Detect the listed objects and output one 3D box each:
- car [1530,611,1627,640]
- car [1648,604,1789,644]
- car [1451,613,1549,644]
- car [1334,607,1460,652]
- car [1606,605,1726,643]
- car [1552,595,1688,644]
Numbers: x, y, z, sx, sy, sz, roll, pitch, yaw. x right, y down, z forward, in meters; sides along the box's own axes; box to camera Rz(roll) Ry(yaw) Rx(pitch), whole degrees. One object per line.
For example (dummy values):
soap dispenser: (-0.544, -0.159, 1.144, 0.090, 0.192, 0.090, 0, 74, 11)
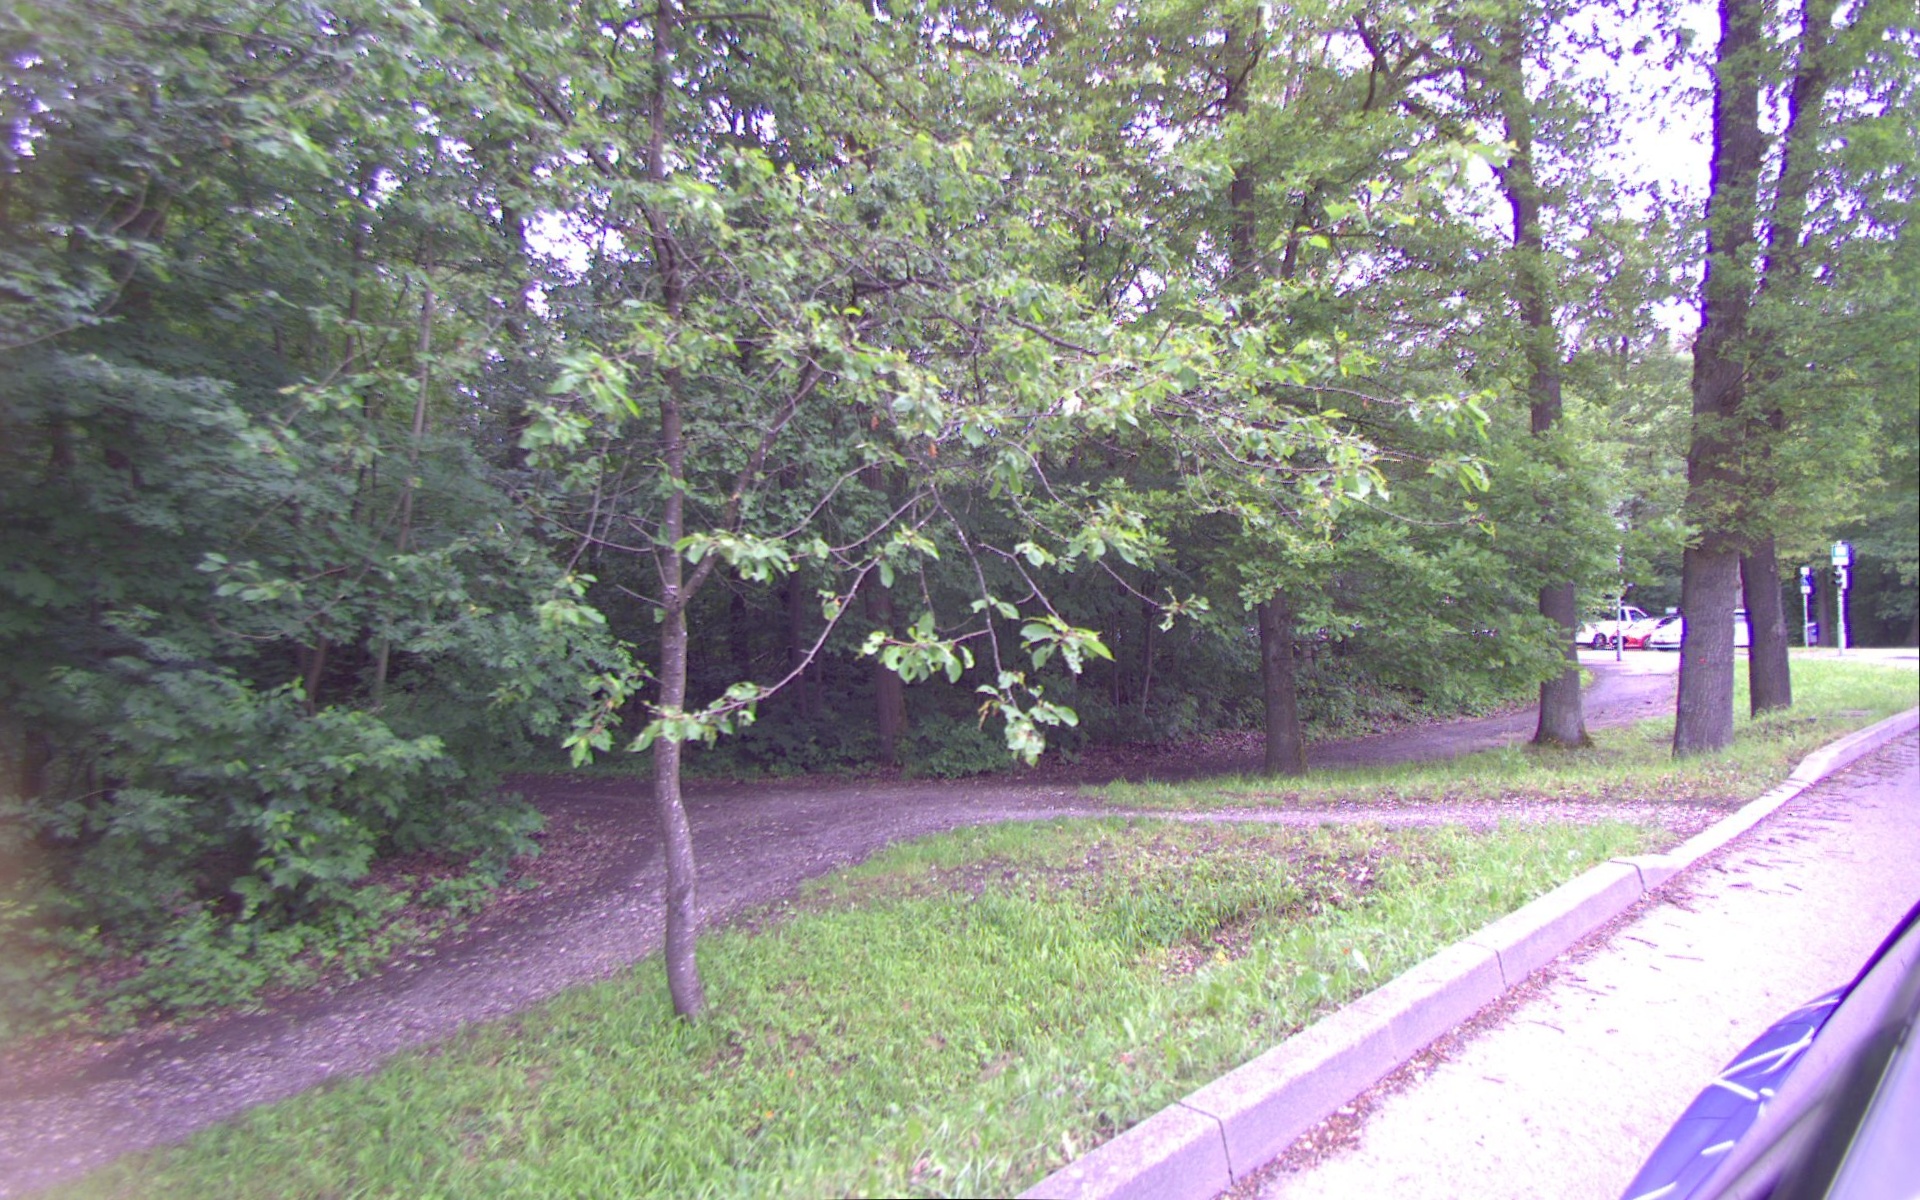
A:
car: (30.033, 1.265, 49.207, 3.853, 1.345, 1.724, 0, -2, -13)
car: (30.924, 0.987, 41.349, 4.331, 1.572, 2.001, 0, -2, -6)
car: (28.607, 1.530, 53.672, 4.437, 1.578, 1.846, 0, -2, -13)
car: (19.545, 1.325, 45.342, 4.847, 1.903, 2.003, 0, -2, -12)
car: (30.566, 1.045, 43.905, 3.919, 1.572, 1.896, 0, -2, -6)
car: (30.268, 0.907, 46.479, 5.076, 1.983, 2.065, -2, -2, -11)
